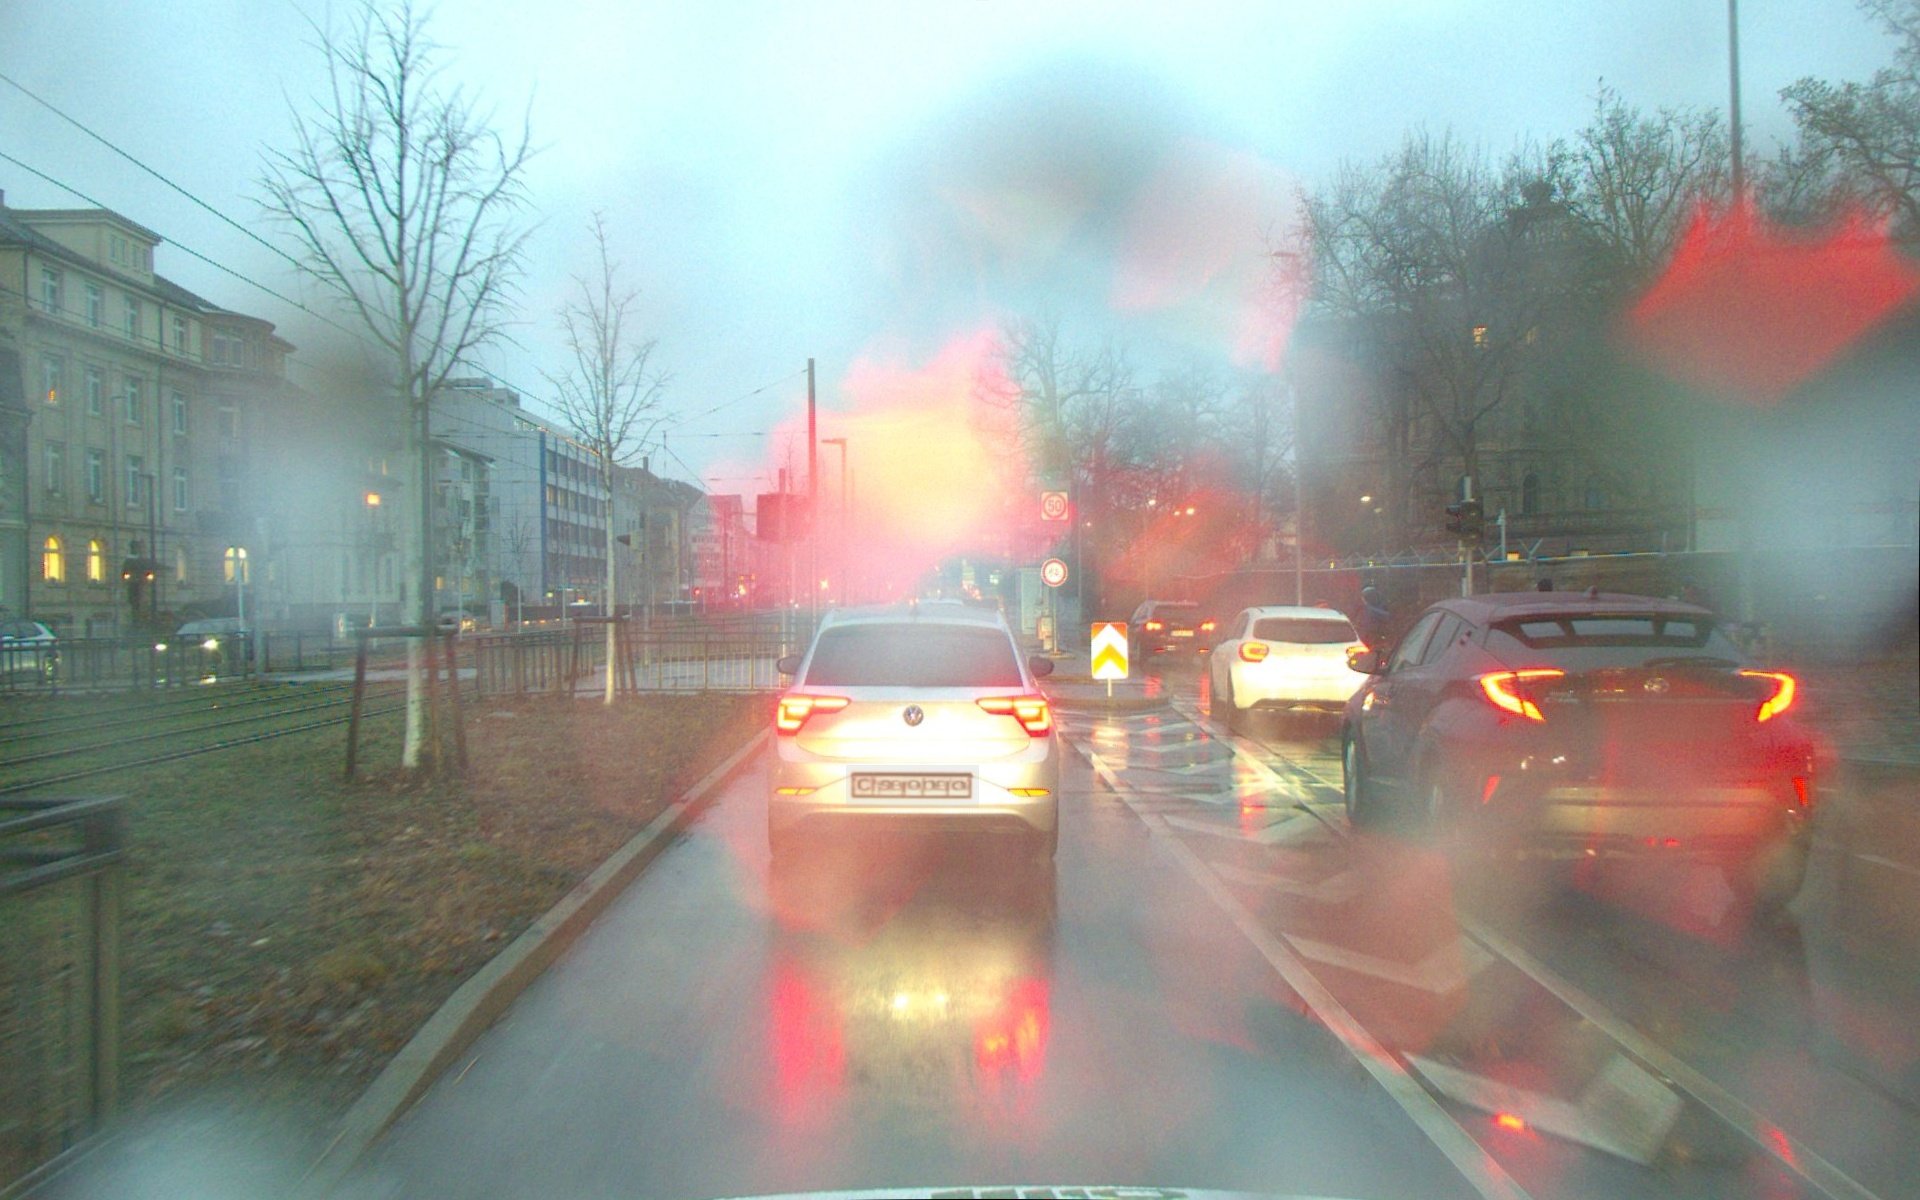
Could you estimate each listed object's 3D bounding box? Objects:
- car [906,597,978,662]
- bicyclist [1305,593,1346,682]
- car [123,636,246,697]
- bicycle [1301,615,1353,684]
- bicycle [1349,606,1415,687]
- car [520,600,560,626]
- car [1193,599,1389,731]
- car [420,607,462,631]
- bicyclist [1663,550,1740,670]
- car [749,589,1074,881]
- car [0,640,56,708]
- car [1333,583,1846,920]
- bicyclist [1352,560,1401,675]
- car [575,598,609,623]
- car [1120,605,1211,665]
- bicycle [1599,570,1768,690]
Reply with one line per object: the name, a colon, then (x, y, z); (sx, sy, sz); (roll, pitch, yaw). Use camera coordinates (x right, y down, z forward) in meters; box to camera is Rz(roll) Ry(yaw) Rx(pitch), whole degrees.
car: (-0.433, 0.727, 41.497); (1.687, 1.505, 3.999); (1, -1, 0)
bicyclist: (6.755, 0.683, 30.588); (0.490, 1.619, 0.836); (-1, 0, -4)
car: (-22.420, 1.884, 47.997); (1.765, 1.613, 3.998); (1, -1, -2)
bicycle: (6.770, 0.891, 30.575); (0.403, 1.206, 1.947); (-1, 0, -3)
bicycle: (6.706, 0.717, 26.372); (0.403, 1.206, 2.028); (-1, 0, -3)
car: (-29.714, 0.884, 117.052); (1.954, 1.722, 4.108); (-2, 0, -4)
car: (4.137, 0.774, 21.262); (1.687, 1.505, 3.999); (1, -1, 0)
car: (-34.486, 1.246, 110.002); (1.770, 1.461, 3.924); (-2, 0, -4)
bicyclist: (10.835, 0.140, 24.175); (0.691, 1.708, 0.805); (0, 0, -41)
car: (-0.263, 0.698, 10.709); (1.687, 1.505, 4.000); (1, 0, 0)
car: (-24.271, 1.823, 40.836); (1.765, 1.613, 3.998); (1, -1, -2)
car: (3.326, 0.711, 9.568); (1.686, 1.505, 4.002); (1, -1, 4)
bicyclist: (6.651, 0.279, 26.441); (0.490, 1.798, 0.836); (-1, 0, -4)
car: (-29.878, 0.820, 134.351); (1.954, 1.966, 4.908); (-2, 0, -4)
car: (4.786, 0.801, 38.947); (1.590, 1.322, 3.999); (1, -1, 0)
bicycle: (10.636, 0.426, 24.389); (0.684, 1.686, 2.214); (2, -1, -41)
